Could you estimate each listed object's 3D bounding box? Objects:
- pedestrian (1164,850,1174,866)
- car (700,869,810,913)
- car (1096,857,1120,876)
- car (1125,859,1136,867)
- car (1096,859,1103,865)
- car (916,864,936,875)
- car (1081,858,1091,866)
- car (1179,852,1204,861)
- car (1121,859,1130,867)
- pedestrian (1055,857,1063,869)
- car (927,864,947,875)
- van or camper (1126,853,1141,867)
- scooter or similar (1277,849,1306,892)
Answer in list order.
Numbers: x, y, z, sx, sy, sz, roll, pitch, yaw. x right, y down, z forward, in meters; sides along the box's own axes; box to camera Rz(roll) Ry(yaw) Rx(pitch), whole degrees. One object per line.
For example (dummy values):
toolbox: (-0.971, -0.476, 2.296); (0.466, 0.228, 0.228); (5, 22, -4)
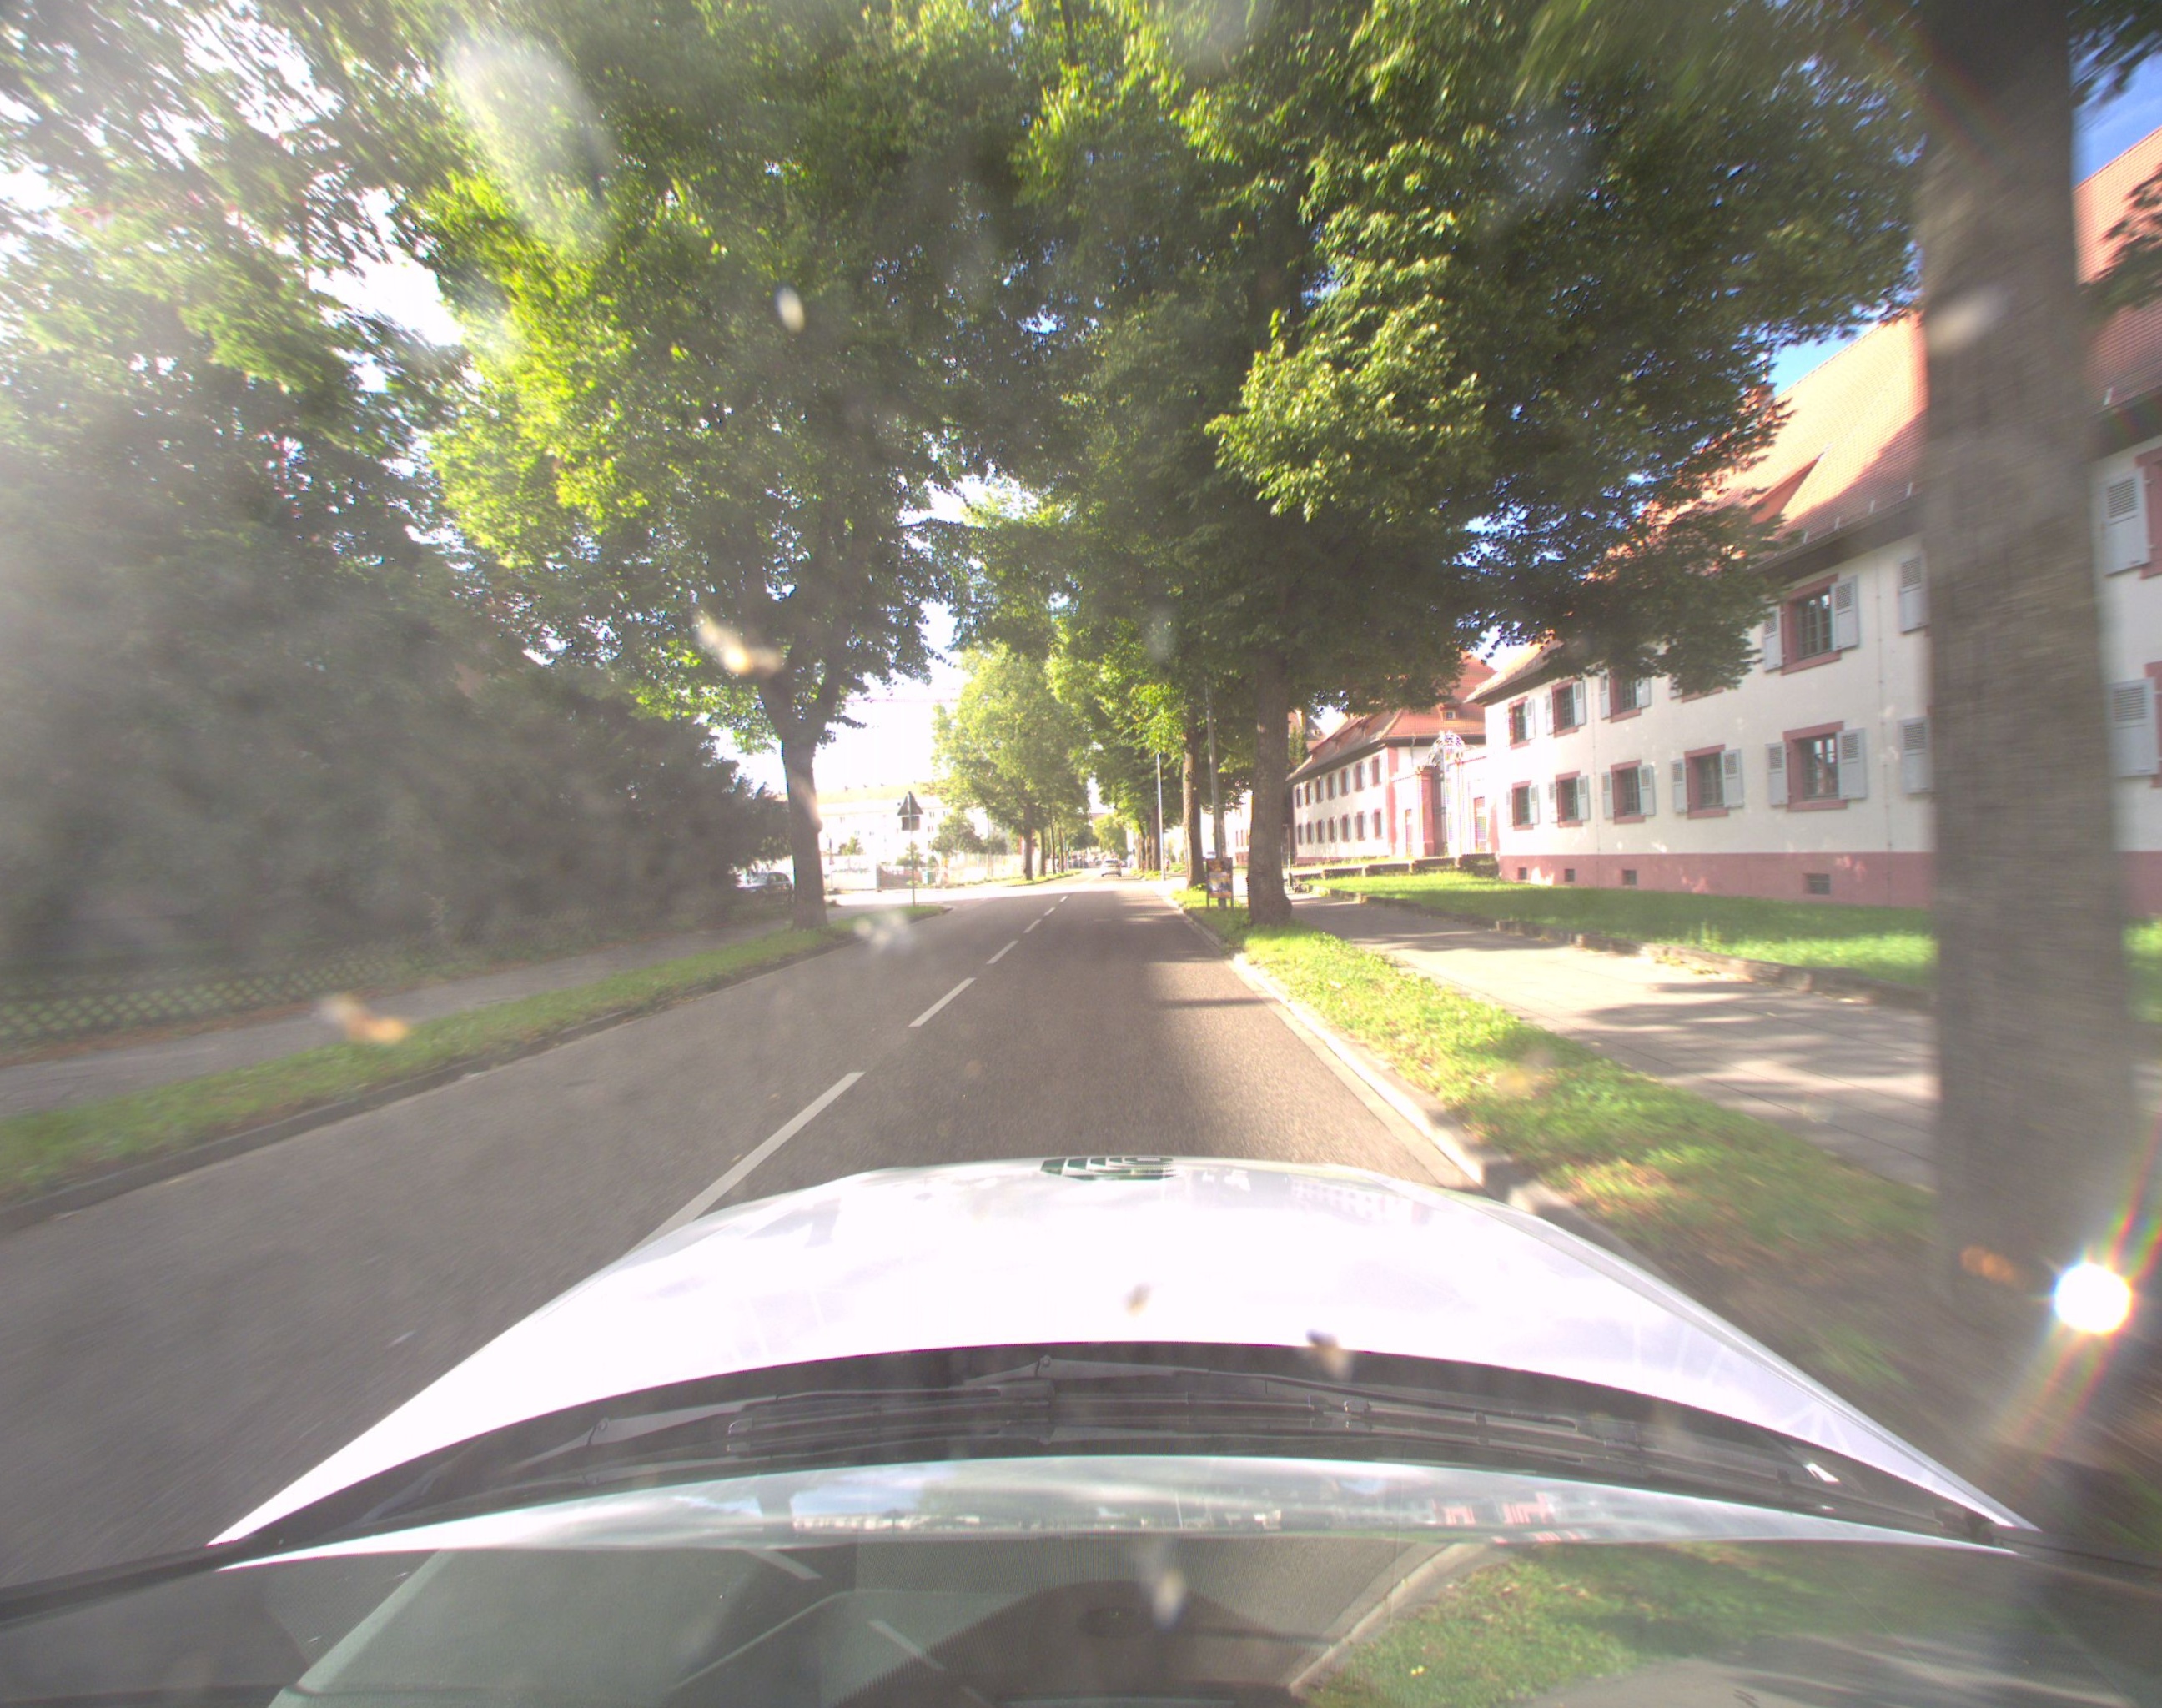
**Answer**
pedestrian: (8.984, 0.418, 82.941); (0.811, 1.590, 0.769); (-4, -1, 1)
car: (-12.089, 1.339, 30.596); (1.984, 1.429, 4.512); (-3, -2, 4)
car: (2.393, 1.119, 73.196); (1.988, 1.555, 4.272); (-1, -1, -1)
car: (10.372, 1.789, 170.290); (1.986, 1.574, 4.001); (-3, 0, 1)
car: (5.725, 2.574, 249.419); (1.985, 1.755, 4.002); (-1, -1, 3)
car: (-29.732, 3.007, 156.313); (1.978, 2.013, 4.018); (-3, -1, 17)
car: (1.078, 1.702, 175.988); (1.990, 1.640, 3.994); (-3, 0, -4)
car: (20.845, 0.473, 153.898); (4.426, 1.622, 2.003); (-3, -1, 5)
car: (9.871, 1.989, 180.865); (1.986, 1.574, 4.001); (-3, 0, 1)
pedestrian: (-3.248, 1.350, 120.171); (1.007, 1.728, 1.174); (-1, -2, -10)
car: (-27.444, 2.972, 155.324); (1.978, 2.013, 4.018); (-3, -1, 17)
van or camper: (10.276, 1.192, 159.351); (2.203, 2.607, 5.367); (-3, 0, -2)
scooter or similar: (6.609, 0.506, 25.585); (0.576, 1.291, 1.383); (-3, 0, 4)
